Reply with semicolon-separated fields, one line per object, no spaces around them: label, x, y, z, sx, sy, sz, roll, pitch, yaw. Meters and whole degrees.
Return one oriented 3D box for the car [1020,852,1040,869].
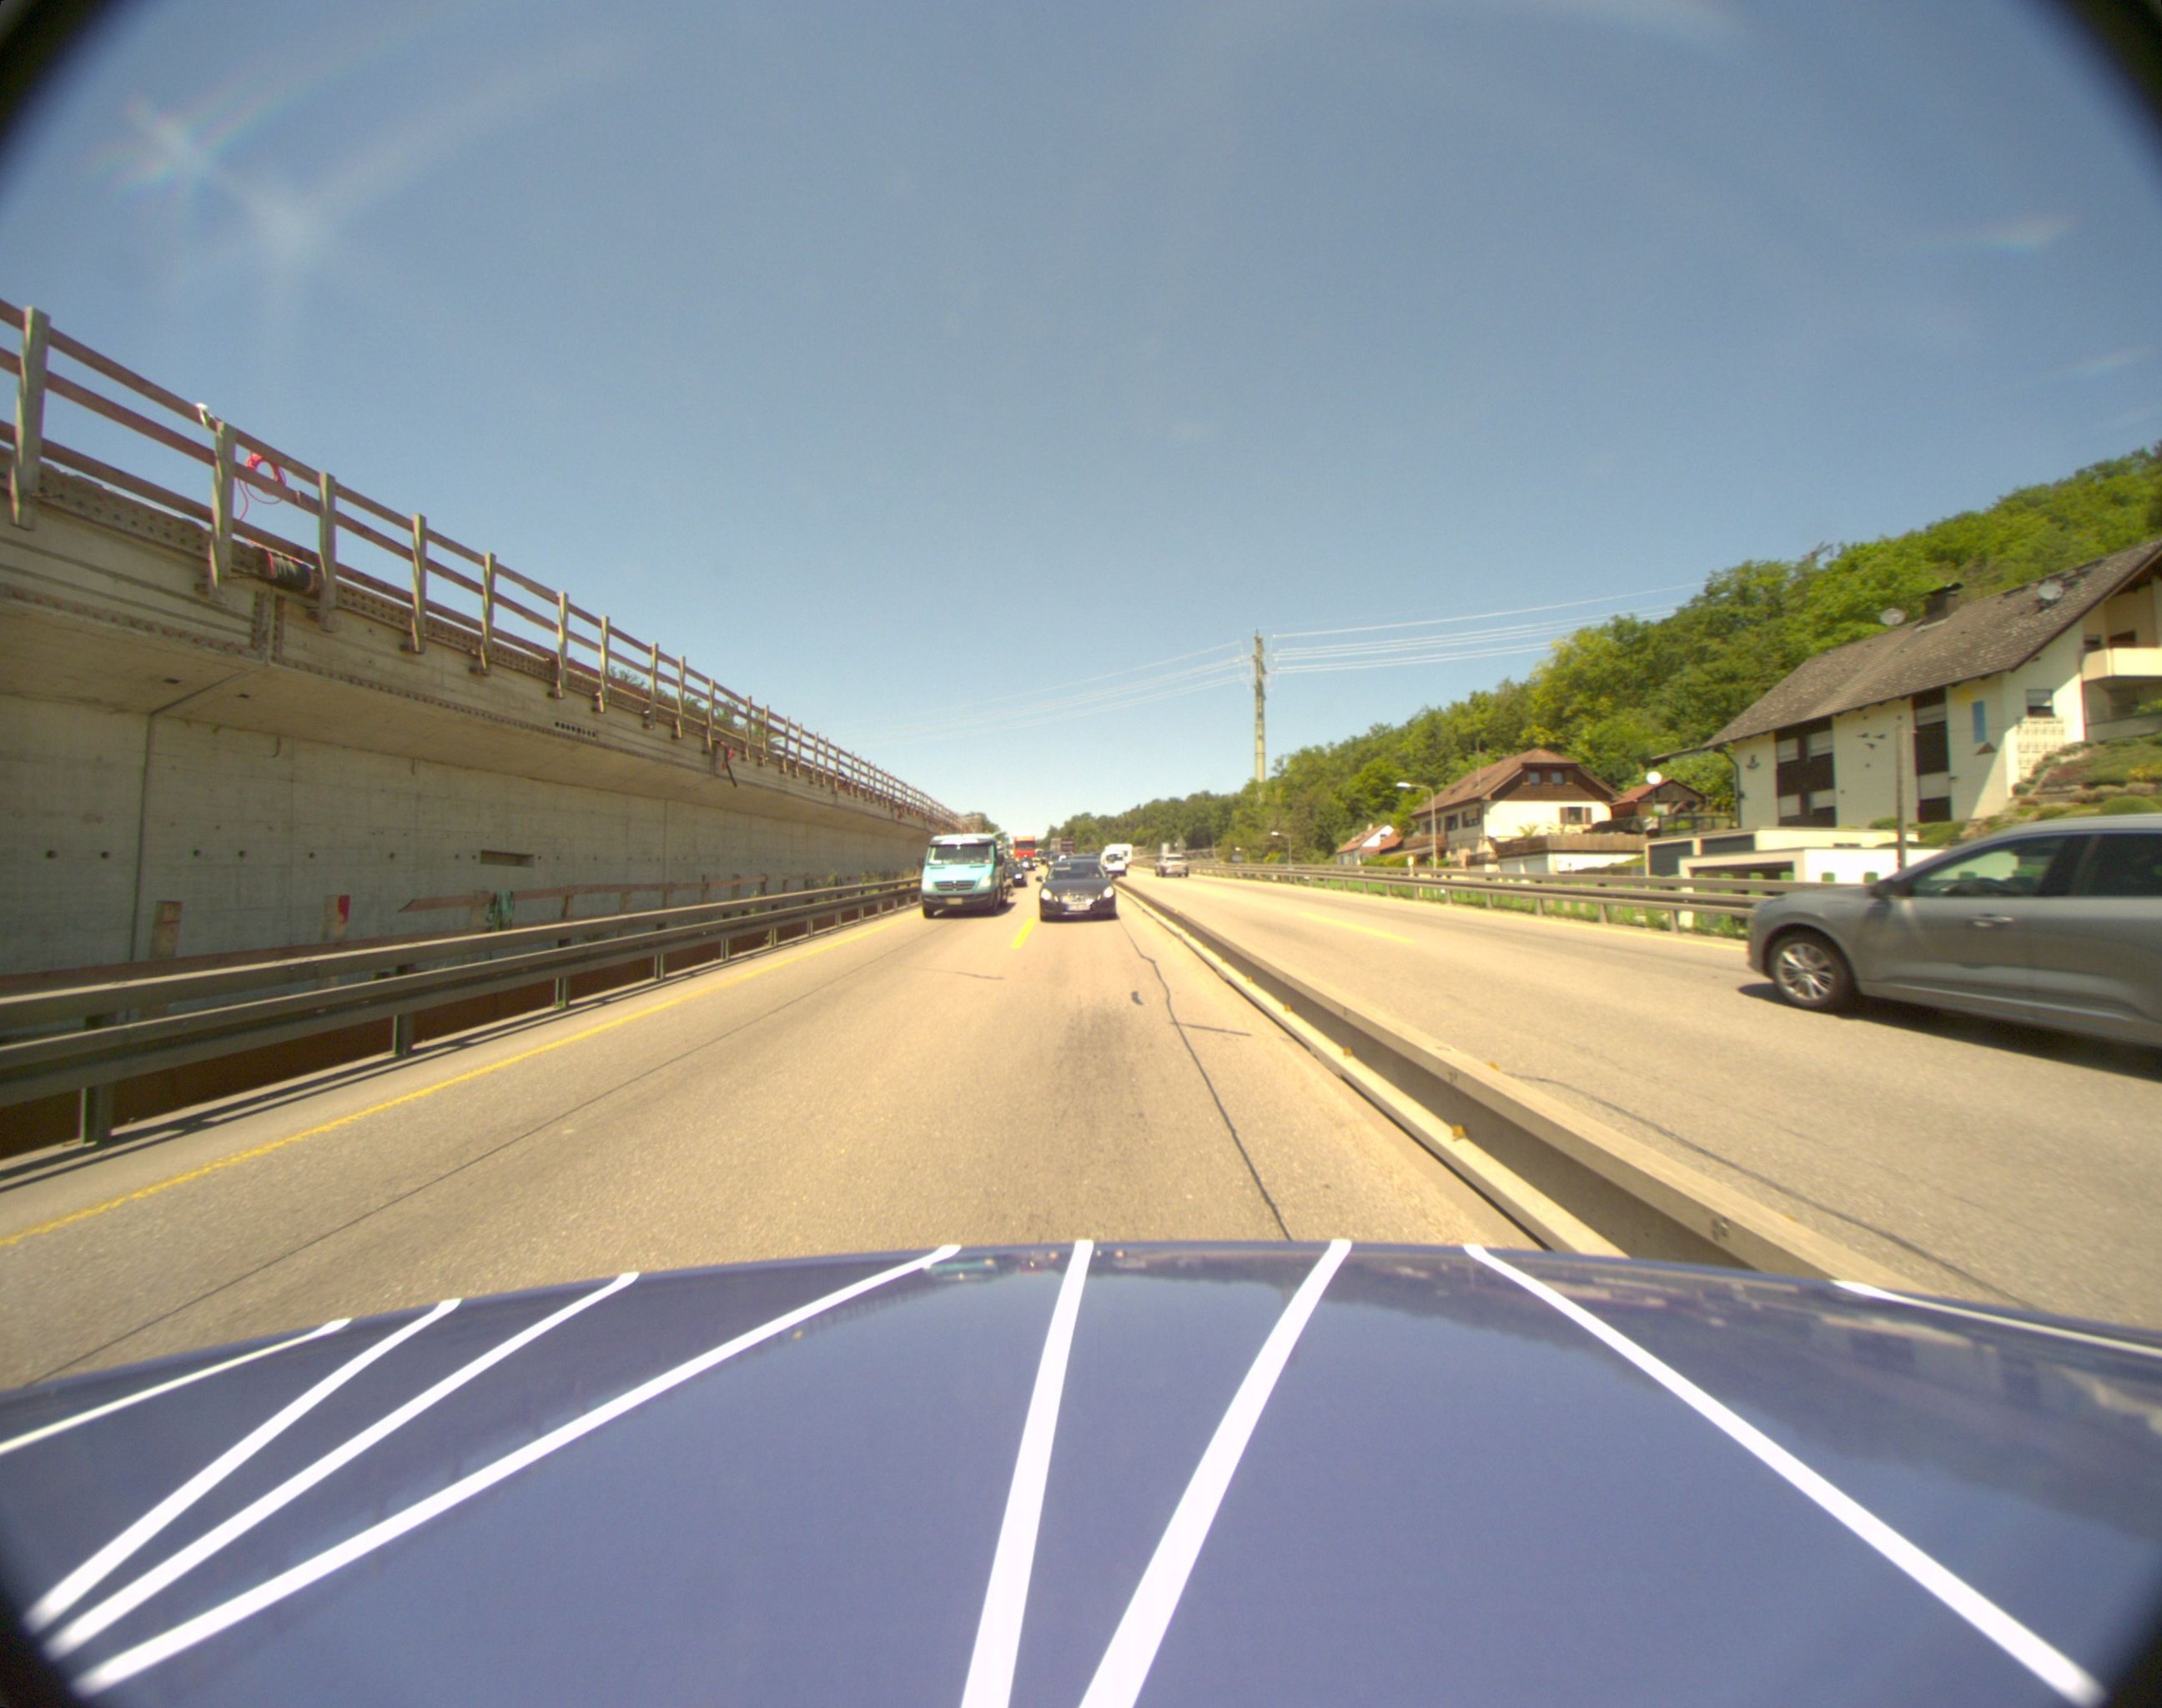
car;-5.188;0.658;77.112;1.674;1.499;3.648;-3;1;1

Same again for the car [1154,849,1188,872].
car;6.092;0.436;51.645;1.706;1.471;3.973;-2;0;-1

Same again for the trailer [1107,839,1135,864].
trailer;4.393;-0.311;84.654;2.606;2.573;6.239;-2;1;-1

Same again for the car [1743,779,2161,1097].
car;7.160;0.448;4.807;1.999;1.817;4.507;-2;1;0

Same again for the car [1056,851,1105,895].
car;-0.053;0.748;32.216;1.860;1.650;3.999;-3;1;-1

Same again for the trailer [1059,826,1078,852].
trailer;-2.486;-2.931;149.685;3.130;4.687;12.074;-3;1;-3

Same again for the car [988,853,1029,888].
car;-3.841;0.854;40.780;1.860;1.650;3.999;-3;1;-2

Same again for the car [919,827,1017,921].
car;-3.205;0.505;23.124;1.968;2.367;7.209;-2;0;-1

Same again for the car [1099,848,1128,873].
car;2.368;0.479;56.573;1.814;1.730;4.256;-2;0;-1

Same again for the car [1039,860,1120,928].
car;-0.108;0.919;19.337;1.793;1.440;4.296;-1;0;-2

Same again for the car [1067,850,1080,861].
car;-1.119;0.245;114.163;1.802;1.577;4.321;-2;0;-3

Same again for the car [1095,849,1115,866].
car;2.218;0.296;69.967;1.575;1.453;4.213;-2;0;-1

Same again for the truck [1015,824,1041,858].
truck;-6.630;-1.603;97.130;2.651;3.978;11.193;-3;1;-2
